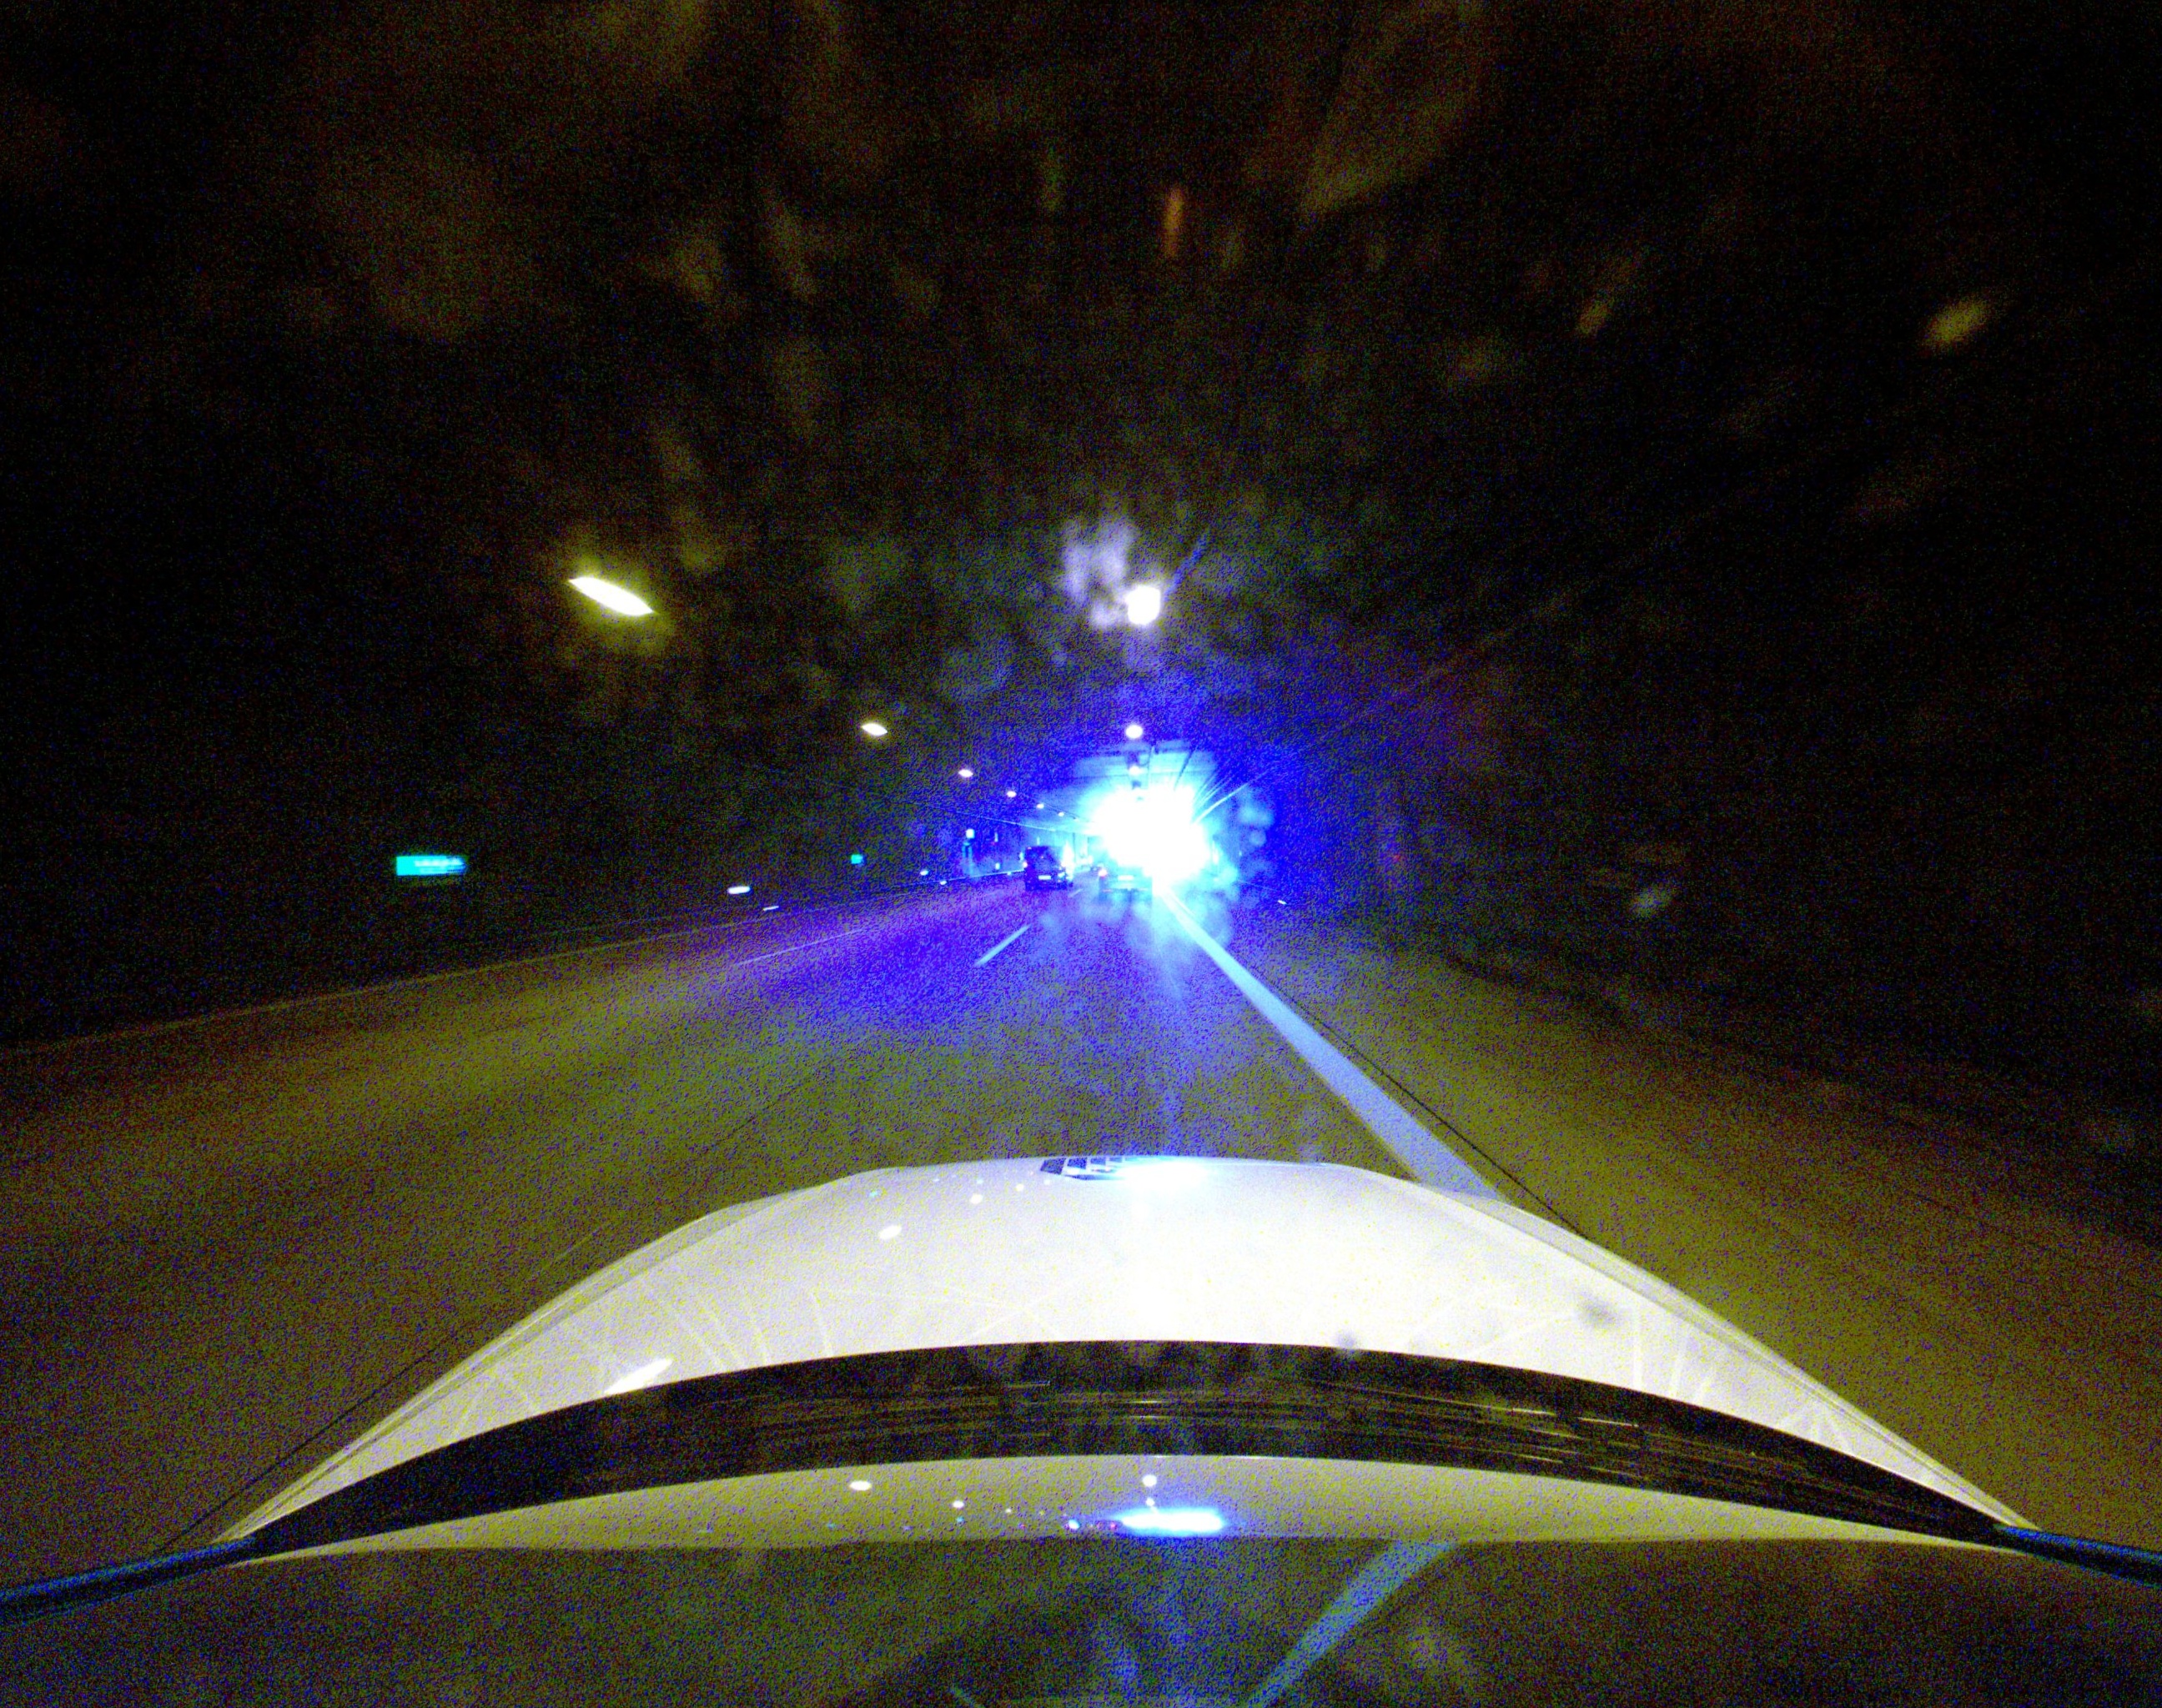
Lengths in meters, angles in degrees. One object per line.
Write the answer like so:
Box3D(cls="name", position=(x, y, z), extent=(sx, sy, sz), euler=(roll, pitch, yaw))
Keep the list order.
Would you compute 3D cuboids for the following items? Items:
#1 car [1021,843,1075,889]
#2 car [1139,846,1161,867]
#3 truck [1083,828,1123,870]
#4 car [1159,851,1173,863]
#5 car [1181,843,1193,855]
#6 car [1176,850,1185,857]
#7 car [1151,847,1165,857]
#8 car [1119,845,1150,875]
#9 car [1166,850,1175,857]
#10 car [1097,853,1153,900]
Box3D(cls="car", position=(-1.429, 0.514, 36.984), extent=(1.900, 1.944, 3.877), euler=(-1, 0, 5))
Box3D(cls="car", position=(6.362, 0.264, 75.573), extent=(1.941, 1.772, 4.004), euler=(-1, -2, 5))
Box3D(cls="truck", position=(2.148, -0.423, 75.814), extent=(3.023, 3.673, 7.405), euler=(-2, 0, 6))
Box3D(cls="car", position=(12.760, 0.452, 121.954), extent=(1.920, 1.643, 4.008), euler=(-2, -2, 8))
Box3D(cls="car", position=(19.837, -0.828, 151.805), extent=(1.981, 2.014, 4.011), euler=(-2, -2, 10))
Box3D(cls="car", position=(24.774, -0.119, 202.343), extent=(1.980, 1.632, 4.012), euler=(-1, -2, 12))
Box3D(cls="car", position=(13.999, -0.371, 147.806), extent=(1.980, 1.632, 4.014), euler=(-1, -2, 13))
Box3D(cls="car", position=(3.553, 0.356, 53.581), extent=(1.848, 1.854, 4.006), euler=(-2, 0, 6))
Box3D(cls="car", position=(23.139, -0.209, 210.269), extent=(1.917, 1.643, 4.014), euler=(-2, -3, 14))
Box3D(cls="car", position=(1.586, 0.728, 28.190), extent=(1.734, 1.464, 3.877), euler=(-1, 0, 5))
